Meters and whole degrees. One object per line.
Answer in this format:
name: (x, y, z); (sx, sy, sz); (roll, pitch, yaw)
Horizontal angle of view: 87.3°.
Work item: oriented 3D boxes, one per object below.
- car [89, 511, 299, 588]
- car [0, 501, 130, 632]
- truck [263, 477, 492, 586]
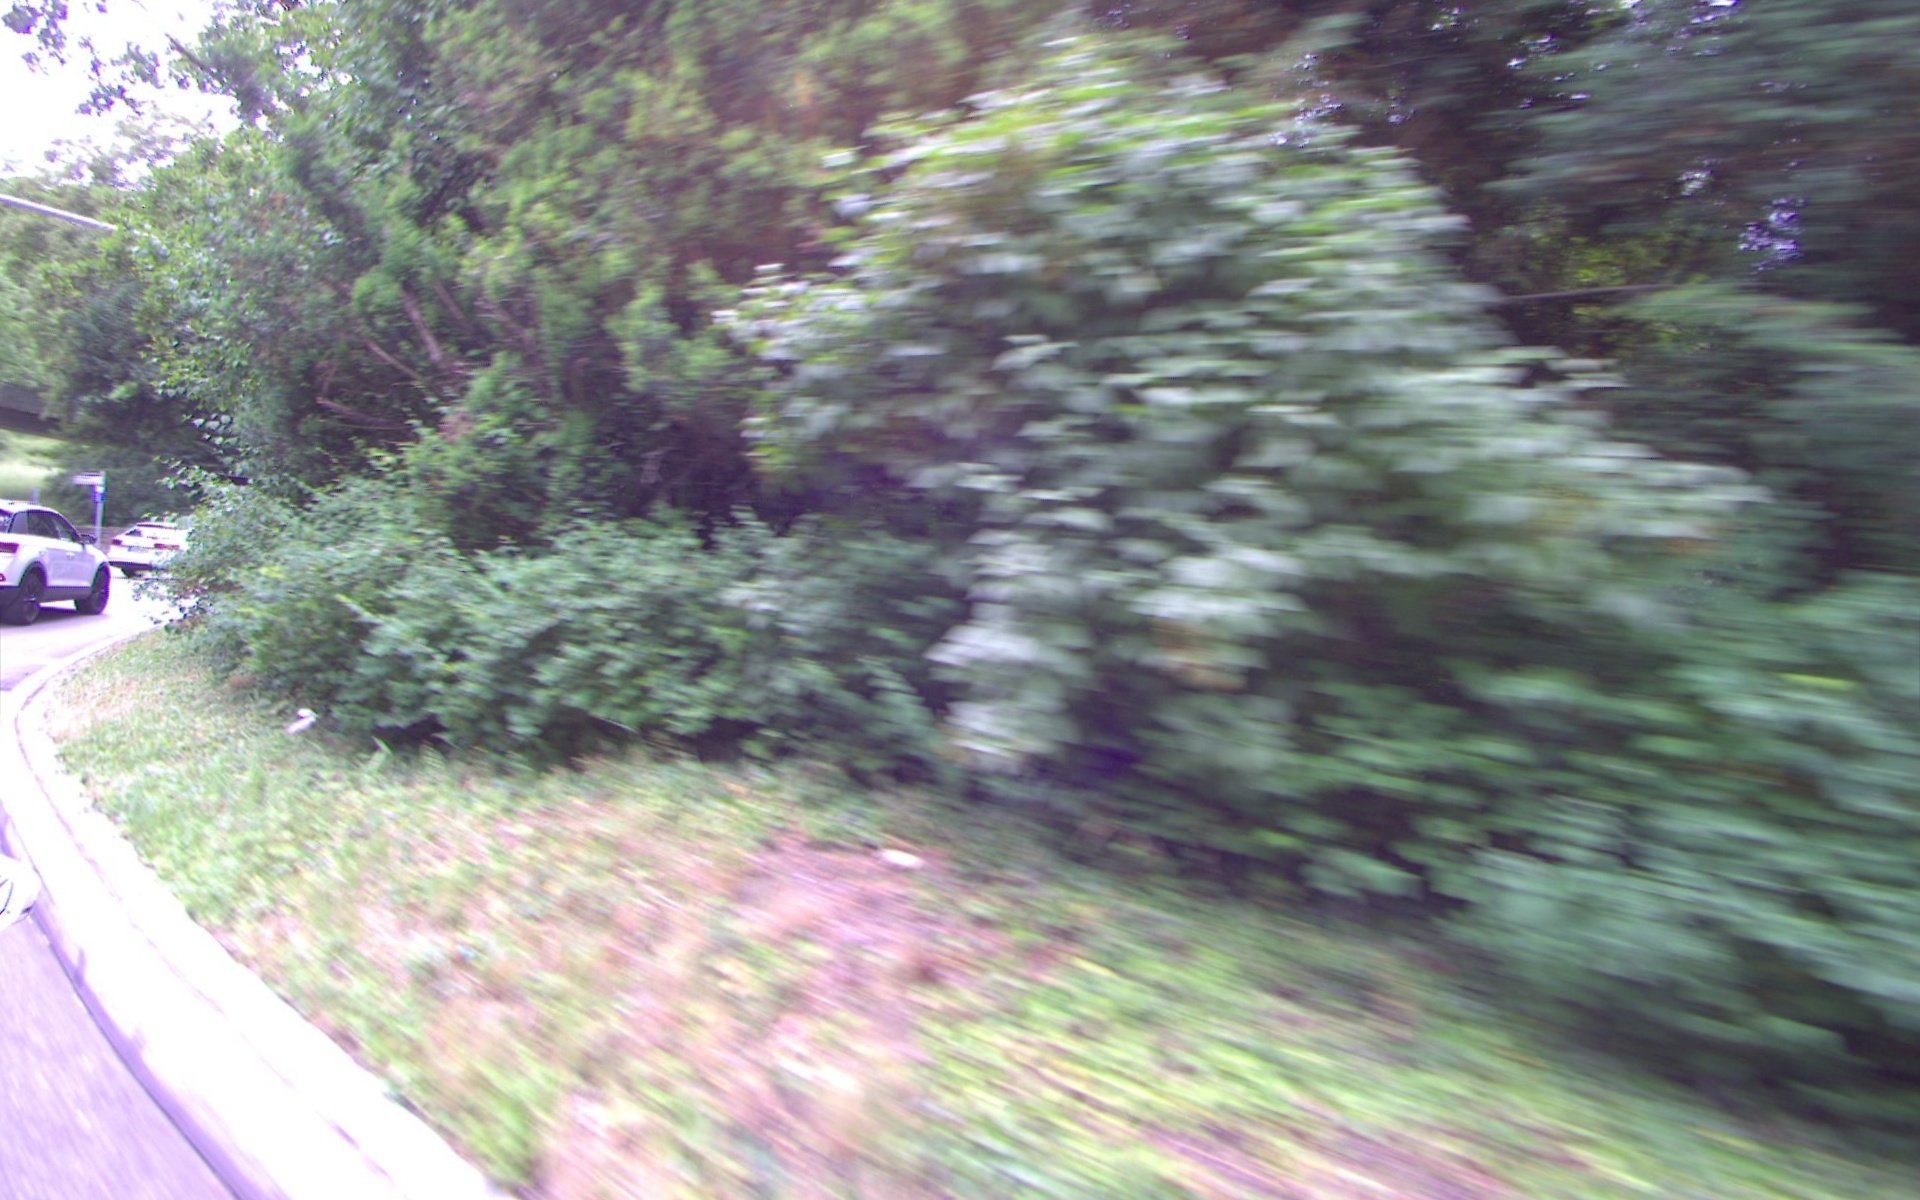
car: (-19.863, -1.233, 26.411); (1.836, 1.553, 4.775); (6, 0, -2)
car: (-13.269, -0.574, 13.815); (1.739, 1.571, 4.311); (8, -2, -25)
truck: (-22.338, -2.509, 39.169); (2.707, 3.341, 7.579); (4, 0, 21)
